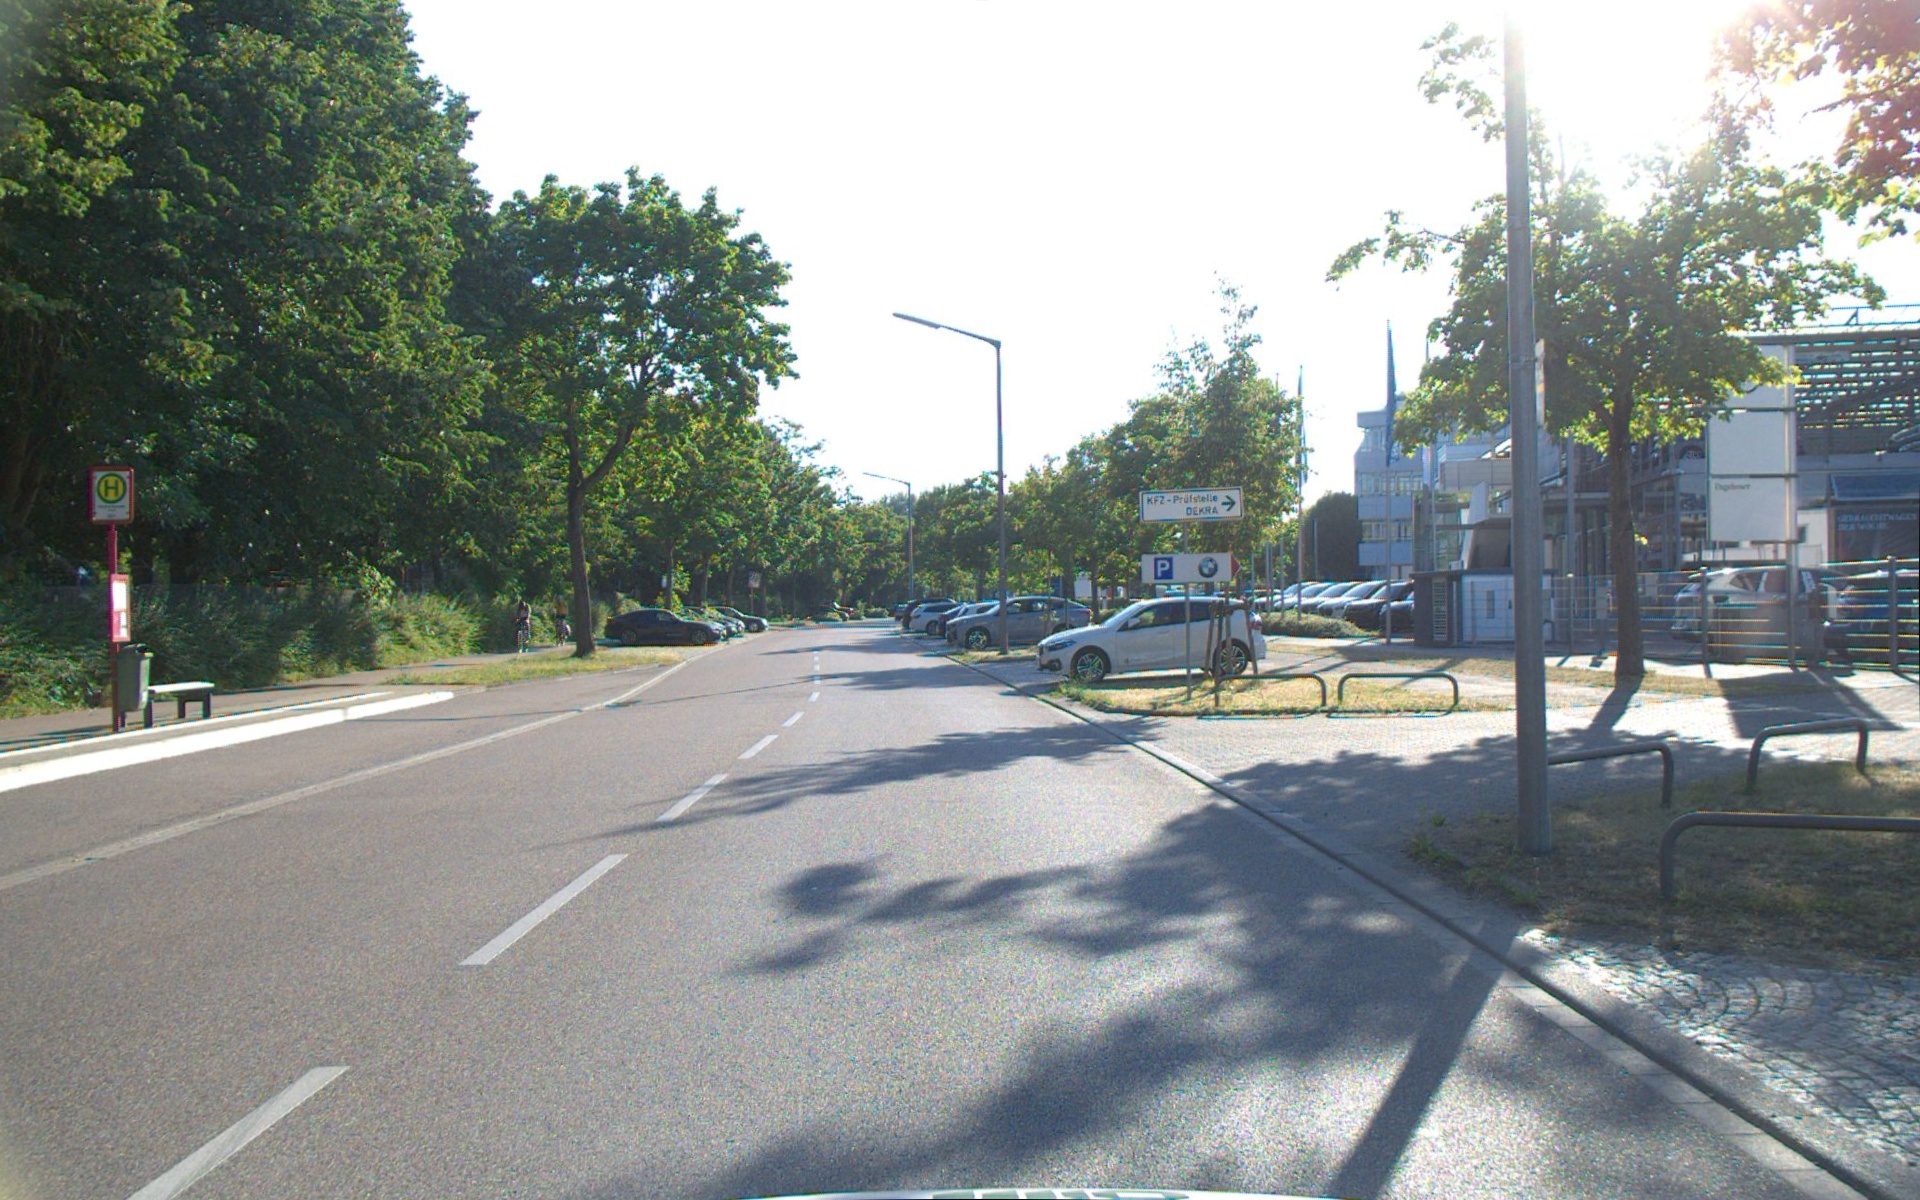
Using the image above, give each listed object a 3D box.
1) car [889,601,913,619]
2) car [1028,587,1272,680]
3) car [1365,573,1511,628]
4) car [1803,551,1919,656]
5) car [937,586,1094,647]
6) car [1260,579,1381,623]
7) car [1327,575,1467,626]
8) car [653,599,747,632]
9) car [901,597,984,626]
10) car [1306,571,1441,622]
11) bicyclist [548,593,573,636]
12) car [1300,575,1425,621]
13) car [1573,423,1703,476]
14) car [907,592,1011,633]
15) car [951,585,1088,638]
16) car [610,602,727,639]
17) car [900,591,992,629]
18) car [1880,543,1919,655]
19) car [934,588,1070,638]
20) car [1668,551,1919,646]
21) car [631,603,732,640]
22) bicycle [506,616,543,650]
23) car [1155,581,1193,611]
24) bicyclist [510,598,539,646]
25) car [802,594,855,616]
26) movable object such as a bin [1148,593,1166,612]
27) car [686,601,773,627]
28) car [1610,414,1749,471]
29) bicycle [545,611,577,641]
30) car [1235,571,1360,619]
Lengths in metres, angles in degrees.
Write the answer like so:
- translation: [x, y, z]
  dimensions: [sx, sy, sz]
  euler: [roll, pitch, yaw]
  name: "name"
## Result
- translation: [-5.722, 0.952, 159.771]
  dimensions: [1.952, 1.747, 4.002]
  euler: [0, 0, 3]
  name: "car"
- translation: [3.473, 0.592, 30.796]
  dimensions: [4.118, 1.469, 2.085]
  euler: [-3, 0, -6]
  name: "car"
- translation: [15.336, -0.003, 53.029]
  dimensions: [4.544, 1.695, 1.979]
  euler: [0, 0, -31]
  name: "car"
- translation: [15.851, 0.009, 26.395]
  dimensions: [3.902, 1.606, 2.002]
  euler: [-2, 0, 15]
  name: "car"
- translation: [1.666, 0.489, 50.727]
  dimensions: [4.504, 1.612, 1.997]
  euler: [-3, 0, -7]
  name: "car"
- translation: [14.240, 0.042, 65.296]
  dimensions: [4.544, 1.601, 1.979]
  euler: [-2, 0, -31]
  name: "car"
- translation: [14.793, 0.008, 55.904]
  dimensions: [4.544, 1.601, 1.979]
  euler: [-2, 0, -31]
  name: "car"
- translation: [-12.697, 0.750, 81.005]
  dimensions: [4.391, 1.557, 1.998]
  euler: [1, 0, -4]
  name: "car"
- translation: [-0.977, 0.617, 90.102]
  dimensions: [4.393, 1.428, 2.032]
  euler: [-1, 0, -4]
  name: "car"
- translation: [14.732, -0.114, 58.859]
  dimensions: [4.541, 1.601, 1.980]
  euler: [-3, 0, -30]
  name: "car"
- translation: [-14.940, 0.537, 61.919]
  dimensions: [0.716, 1.557, 0.950]
  euler: [-2, 0, -4]
  name: "bicyclist"
- translation: [15.377, -0.082, 63.141]
  dimensions: [4.544, 1.601, 1.979]
  euler: [-2, 0, -31]
  name: "car"
- translation: [23.800, -5.275, 58.156]
  dimensions: [3.902, 1.695, 1.789]
  euler: [1, 1, 9]
  name: "car"
- translation: [-0.064, 0.555, 76.554]
  dimensions: [4.603, 1.504, 1.999]
  euler: [-3, 4, -5]
  name: "car"
- translation: [1.942, 0.372, 55.027]
  dimensions: [4.291, 1.505, 1.998]
  euler: [-3, 0, -5]
  name: "car"
- translation: [-11.891, 0.833, 67.683]
  dimensions: [4.560, 1.446, 1.914]
  euler: [1, 0, -7]
  name: "car"
- translation: [-0.698, 0.490, 84.013]
  dimensions: [4.598, 1.781, 2.192]
  euler: [-2, 0, 0]
  name: "car"
- translation: [15.793, -0.075, 23.938]
  dimensions: [3.902, 1.606, 2.002]
  euler: [-2, 0, 15]
  name: "car"
- translation: [1.451, 0.448, 58.098]
  dimensions: [4.534, 1.481, 1.998]
  euler: [-3, 0, -5]
  name: "car"
- translation: [15.488, -0.022, 30.840]
  dimensions: [3.902, 1.606, 2.002]
  euler: [-2, 0, 15]
  name: "car"
- translation: [-12.332, 0.931, 73.511]
  dimensions: [4.201, 1.557, 1.999]
  euler: [1, 0, -3]
  name: "car"
- translation: [-14.378, 1.080, 54.698]
  dimensions: [0.750, 1.057, 2.215]
  euler: [-2, 0, -4]
  name: "bicycle"
- translation: [13.919, -0.270, 107.425]
  dimensions: [1.988, 1.860, 4.980]
  euler: [-1, 0, 12]
  name: "car"
- translation: [-14.356, 0.727, 54.511]
  dimensions: [0.716, 1.557, 0.950]
  euler: [-2, 0, -4]
  name: "bicyclist"
- translation: [-12.982, 0.513, 163.482]
  dimensions: [4.900, 2.055, 2.175]
  euler: [-1, 0, 3]
  name: "car"
- translation: [13.314, 0.182, 111.809]
  dimensions: [1.094, 1.290, 1.038]
  euler: [-1, 0, 3]
  name: "movable object such as a bin"
- translation: [-13.668, 0.836, 98.175]
  dimensions: [4.935, 1.487, 1.998]
  euler: [1, 0, -4]
  name: "car"
- translation: [23.897, -5.238, 55.060]
  dimensions: [3.902, 1.695, 1.789]
  euler: [1, 1, 9]
  name: "car"
- translation: [-14.963, 0.964, 62.072]
  dimensions: [0.750, 1.057, 2.215]
  euler: [-2, 0, -4]
  name: "bicycle"
- translation: [13.901, -0.201, 68.106]
  dimensions: [4.667, 1.720, 2.386]
  euler: [-3, 0, -31]
  name: "car"
